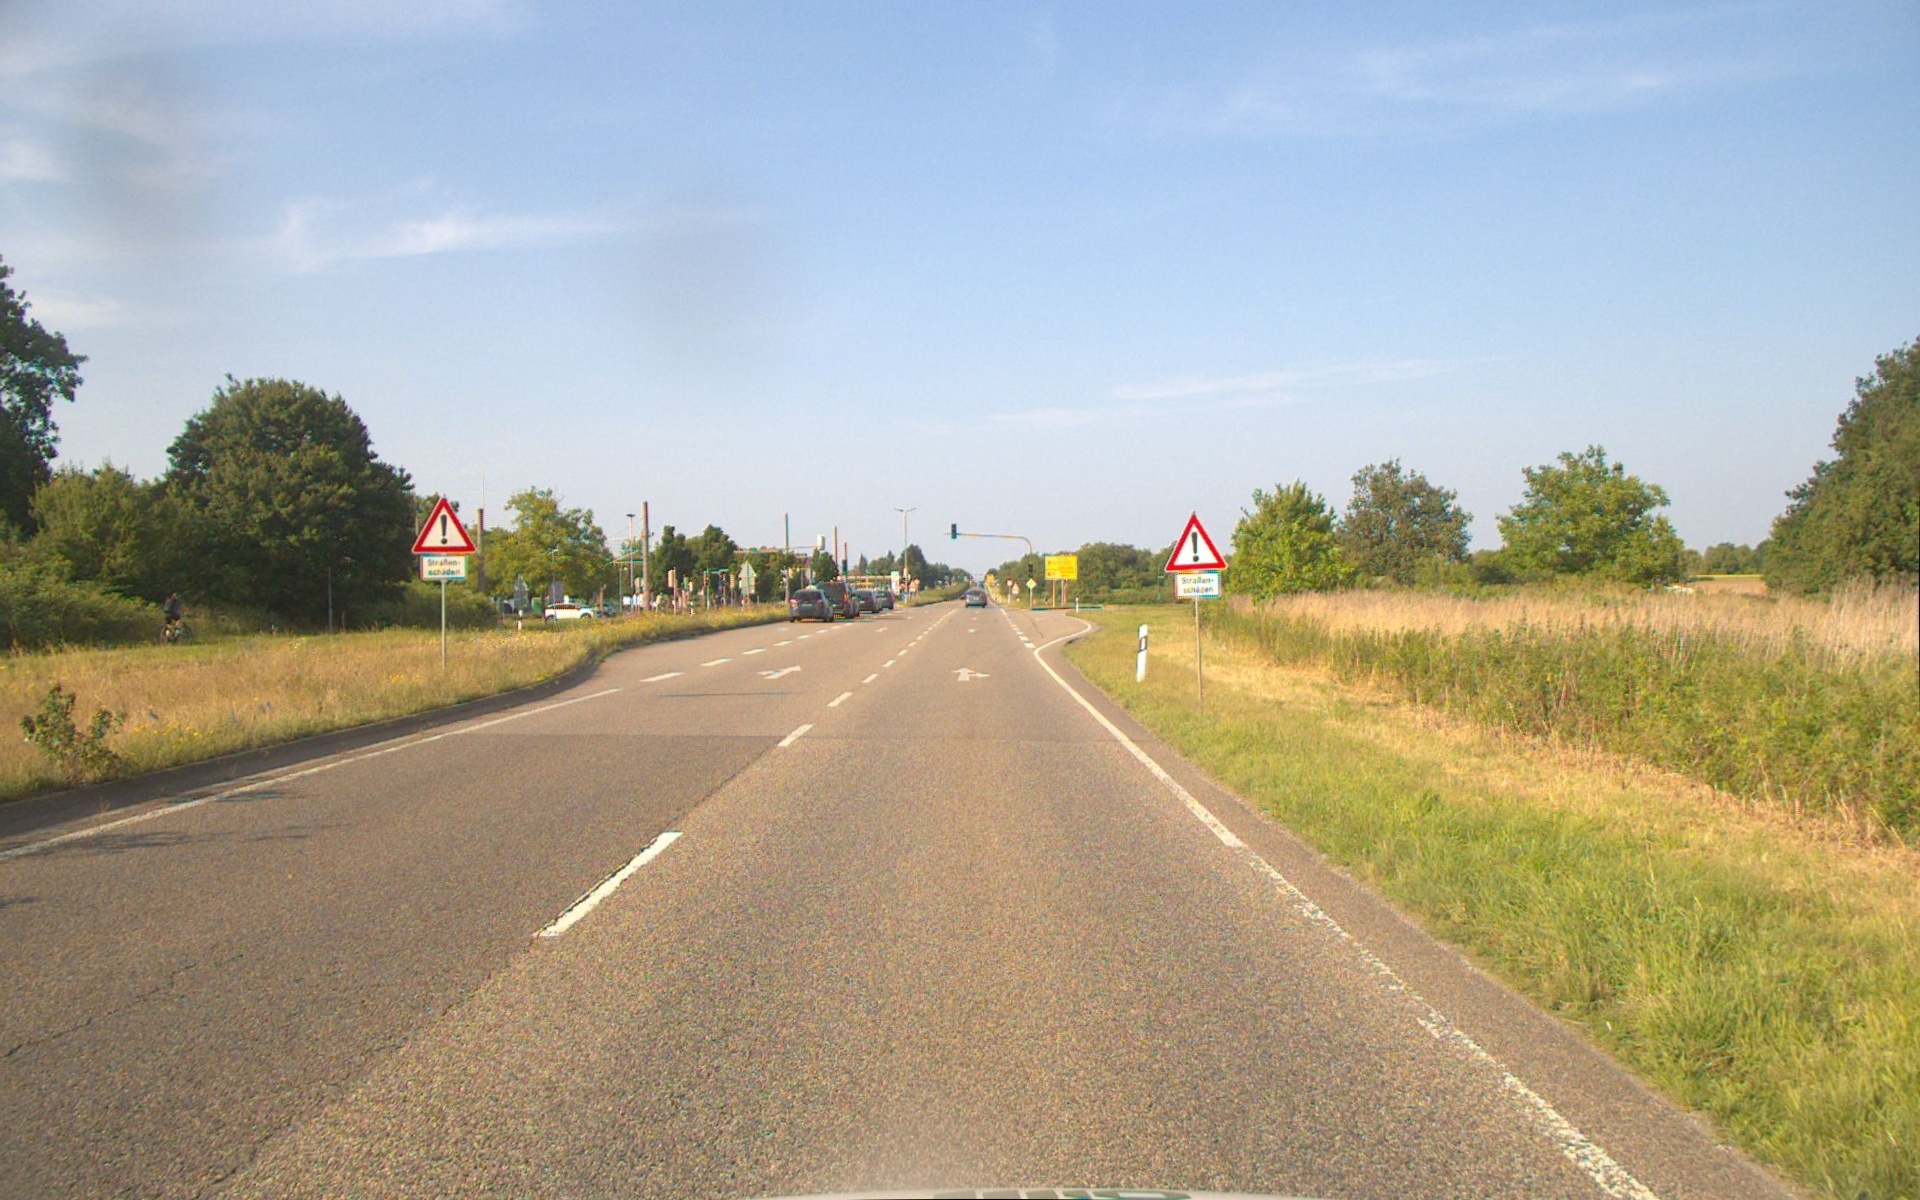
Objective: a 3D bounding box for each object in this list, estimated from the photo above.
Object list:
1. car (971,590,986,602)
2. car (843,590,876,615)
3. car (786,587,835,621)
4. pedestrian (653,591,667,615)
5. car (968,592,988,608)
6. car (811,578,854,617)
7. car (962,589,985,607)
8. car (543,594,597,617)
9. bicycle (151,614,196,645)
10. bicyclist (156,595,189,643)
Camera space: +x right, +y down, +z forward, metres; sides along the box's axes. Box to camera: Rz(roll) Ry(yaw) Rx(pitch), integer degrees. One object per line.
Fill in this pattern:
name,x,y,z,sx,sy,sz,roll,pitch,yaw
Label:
car,2.538,-0.545,230.906,1.952,1.624,4.001,-1,0,2
car,-6.252,0.113,103.181,1.733,1.497,4.016,0,0,1
car,-6.812,0.156,75.839,1.696,1.481,4.521,0,0,1
pedestrian,-21.898,0.212,120.665,0.897,1.736,1.066,1,-1,-5
car,1.915,-0.026,174.907,1.952,1.579,4.001,0,0,1
car,-6.415,-0.139,83.371,1.696,1.888,4.521,0,0,1
car,1.235,-0.161,148.645,1.952,1.579,4.001,0,0,1
car,-29.770,0.416,126.284,3.915,1.691,1.882,1,-1,-11
bicycle,-23.600,0.874,49.655,0.519,0.893,1.705,-1,0,1
bicyclist,-23.623,0.572,49.630,0.457,1.414,1.048,-1,0,1
